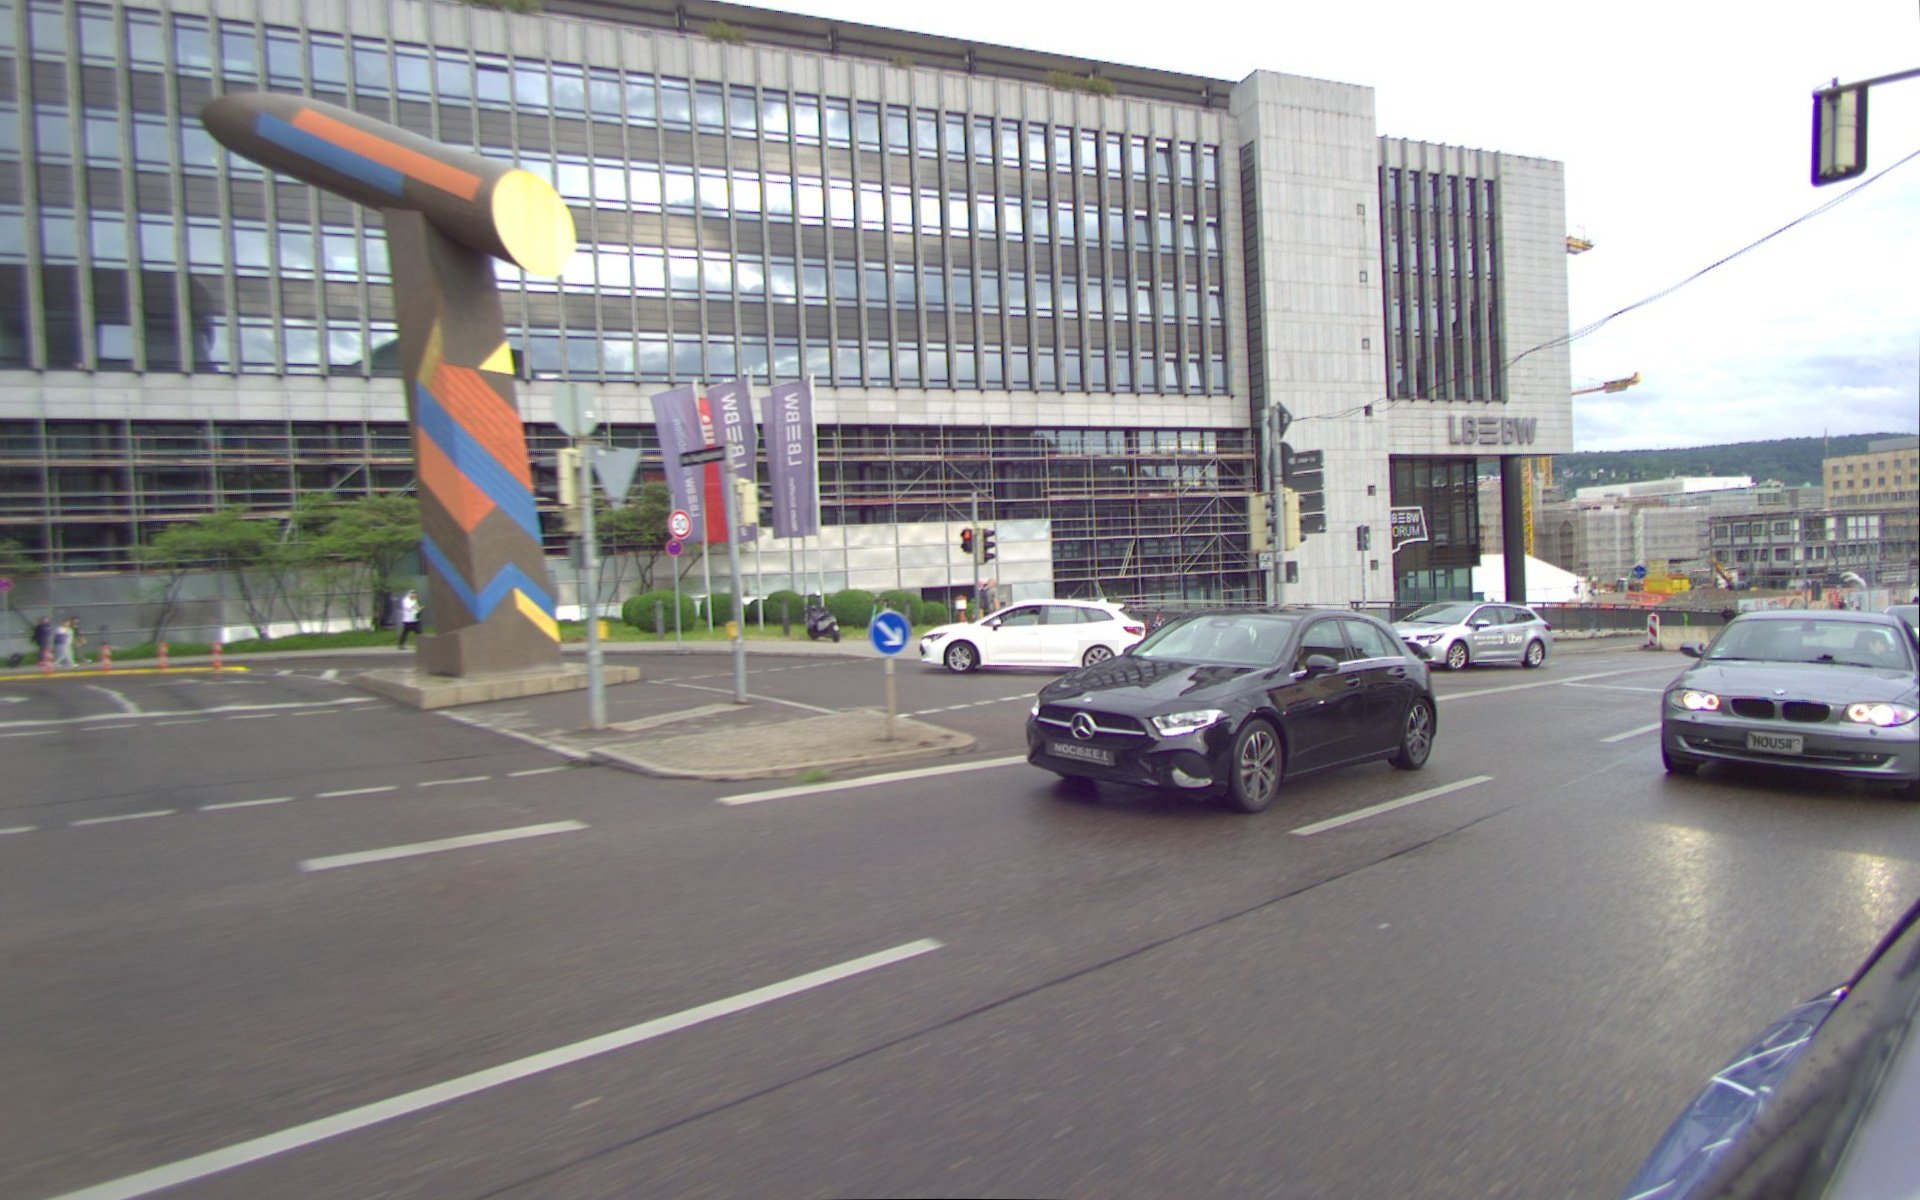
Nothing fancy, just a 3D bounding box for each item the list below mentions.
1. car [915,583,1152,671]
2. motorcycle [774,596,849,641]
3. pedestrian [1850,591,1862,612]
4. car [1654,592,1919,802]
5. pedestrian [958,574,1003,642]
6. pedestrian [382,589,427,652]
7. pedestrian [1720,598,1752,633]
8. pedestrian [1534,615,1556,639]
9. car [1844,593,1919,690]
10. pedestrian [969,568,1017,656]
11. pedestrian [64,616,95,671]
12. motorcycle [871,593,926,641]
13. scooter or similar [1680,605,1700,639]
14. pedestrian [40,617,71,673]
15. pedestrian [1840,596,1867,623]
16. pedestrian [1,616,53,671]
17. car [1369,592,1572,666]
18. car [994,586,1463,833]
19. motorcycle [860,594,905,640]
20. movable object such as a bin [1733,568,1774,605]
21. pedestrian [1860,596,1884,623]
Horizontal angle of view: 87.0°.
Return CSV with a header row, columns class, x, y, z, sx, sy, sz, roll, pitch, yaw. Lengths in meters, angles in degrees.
class,x,y,z,sx,sy,sz,roll,pitch,yaw
car,1.427,0.511,20.149,4.497,1.655,1.775,0,0,3
motorcycle,-4.250,0.506,28.827,2.563,1.094,0.625,4,3,42
pedestrian,76.564,0.152,86.448,0.485,1.770,0.569,-2,1,-22
car,7.703,0.681,9.026,3.934,1.461,1.741,-1,0,-44
pedestrian,0.532,0.201,26.361,0.829,1.732,0.730,-3,1,-41
pedestrian,-16.786,0.594,30.588,0.766,1.840,0.971,-2,1,0
pedestrian,38.565,0.755,50.291,1.039,1.673,0.733,-1,0,-13
pedestrian,42.863,1.967,74.140,0.987,1.657,0.870,-2,1,-12
car,17.346,0.668,17.719,4.140,1.568,1.969,0,0,-36
pedestrian,0.817,0.305,25.237,0.846,2.126,0.896,-3,-2,26
pedestrian,-28.673,1.413,32.954,0.541,1.769,0.563,0,-1,-14
motorcycle,-1.836,0.489,30.113,1.723,1.371,0.597,1,1,42
scooter or similar,25.829,0.774,35.803,0.561,1.177,0.350,-1,0,-26
pedestrian,-28.771,1.424,32.200,0.541,1.769,0.563,0,-1,-14
pedestrian,55.022,0.582,62.323,0.932,1.613,0.865,-2,1,-13
pedestrian,-30.505,1.414,33.101,0.885,1.769,0.946,0,-1,-14
car,11.116,0.596,21.982,4.523,1.470,1.708,0,-1,-29
car,2.361,0.640,8.247,4.156,1.424,1.757,-2,2,-43
motorcycle,-2.264,0.481,29.522,1.240,1.286,0.610,1,1,42
movable object such as a bin,78.444,-1.367,100.069,4.150,3.451,1.944,-3,1,-34
pedestrian,55.583,0.577,61.678,0.788,1.594,0.735,-2,0,-13
